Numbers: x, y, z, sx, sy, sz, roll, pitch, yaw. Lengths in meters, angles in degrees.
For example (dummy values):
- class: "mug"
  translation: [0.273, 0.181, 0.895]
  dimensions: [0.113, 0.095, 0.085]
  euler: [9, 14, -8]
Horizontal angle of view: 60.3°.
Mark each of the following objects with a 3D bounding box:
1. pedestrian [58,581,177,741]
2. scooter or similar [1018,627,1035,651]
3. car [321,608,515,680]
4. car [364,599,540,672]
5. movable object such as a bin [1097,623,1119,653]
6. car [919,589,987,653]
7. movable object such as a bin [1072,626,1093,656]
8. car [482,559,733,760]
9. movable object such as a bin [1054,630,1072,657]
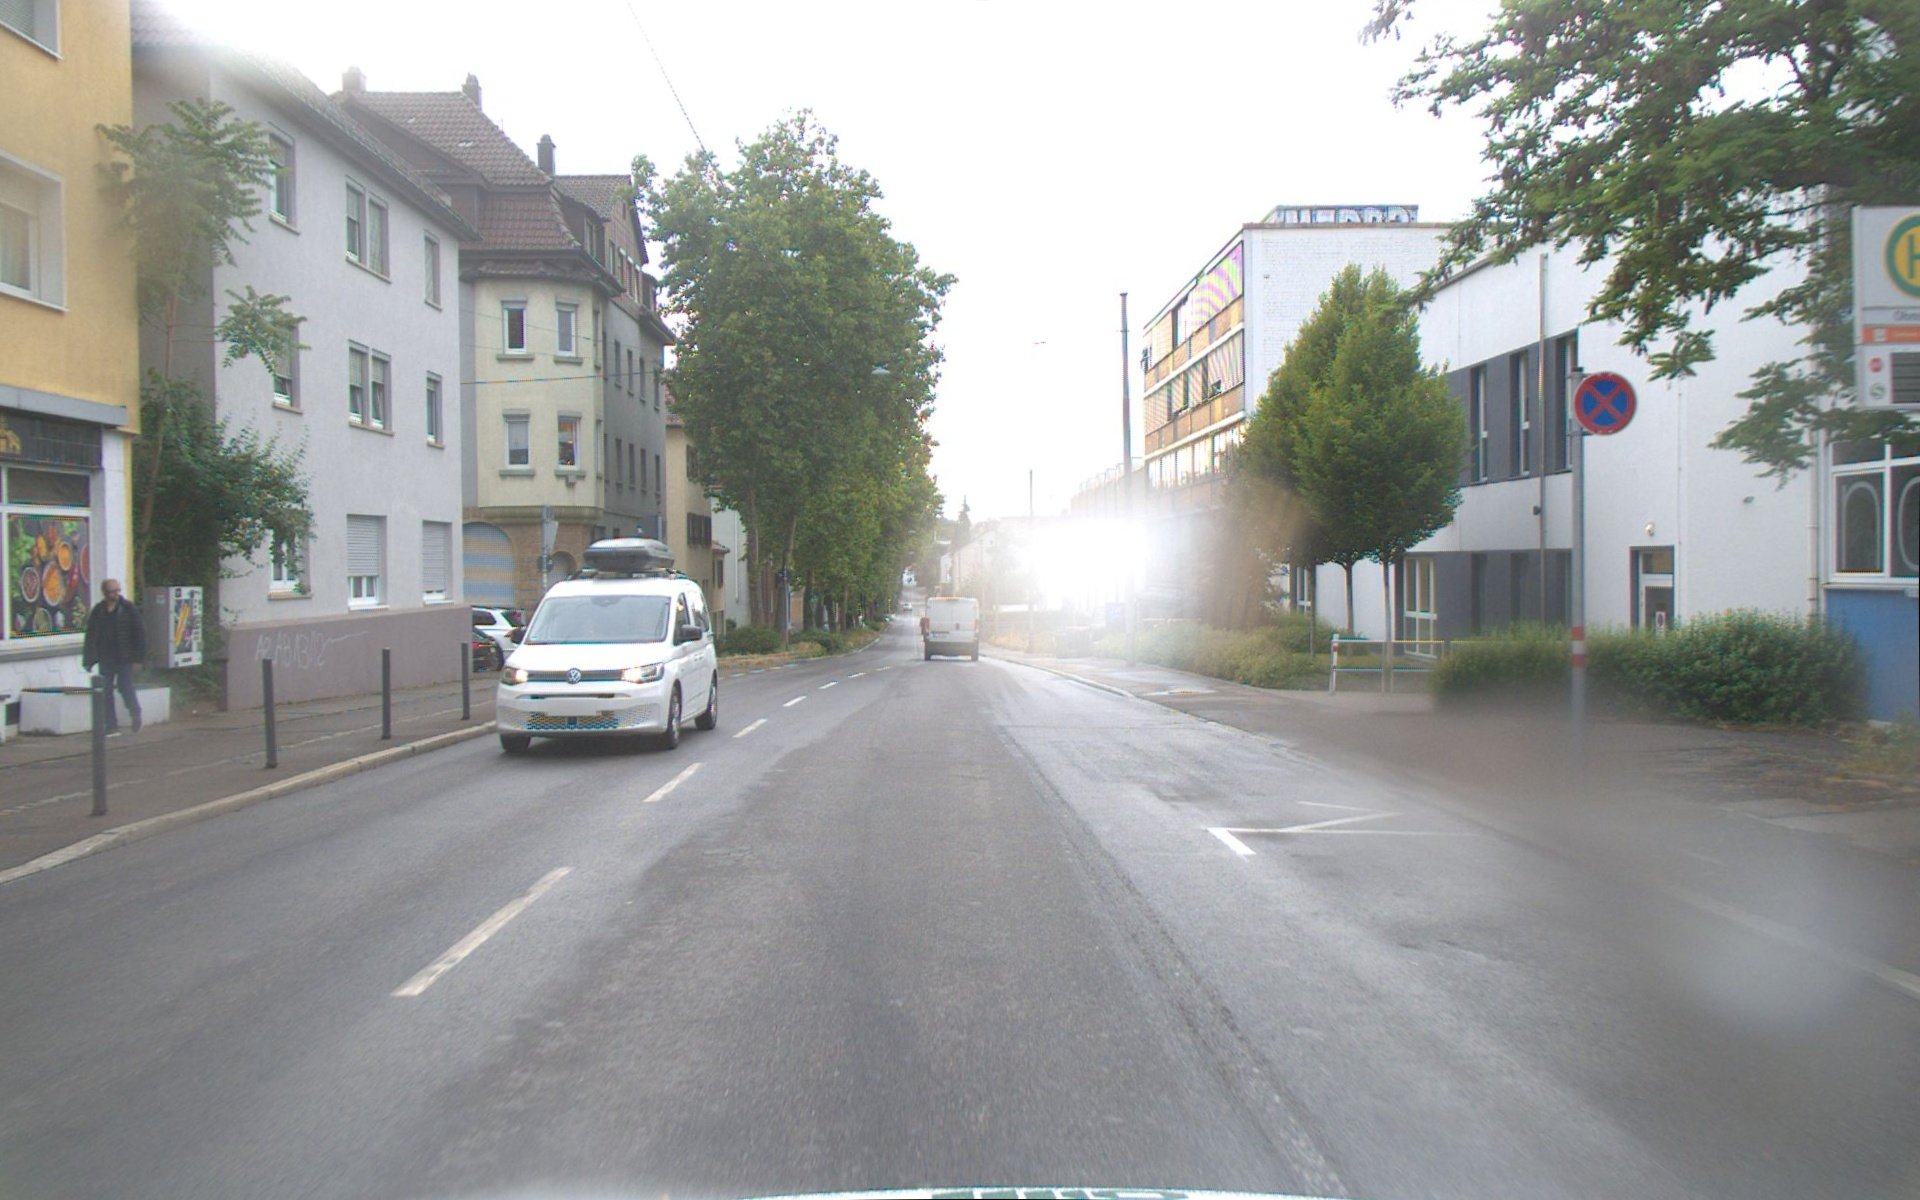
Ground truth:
- class: "pedestrian"
  translation: [-9.242, 0.662, 18.184]
  dimensions: [0.799, 1.709, 0.992]
  euler: [1, -1, -4]
- class: "scooter or similar"
  translation: [3.266, 1.927, 81.303]
  dimensions: [0.593, 1.182, 1.697]
  euler: [-1, -1, -6]
- class: "car"
  translation: [-12.834, 1.032, 39.342]
  dimensions: [3.907, 1.478, 1.999]
  euler: [3, 0, -2]
- class: "car"
  translation: [-13.717, 0.943, 44.832]
  dimensions: [4.098, 1.733, 1.999]
  euler: [3, 0, -1]
- class: "movable object such as a bin"
  translation: [5.597, 1.432, 62.631]
  dimensions: [0.681, 1.101, 0.778]
  euler: [-3, -1, 0]
- class: "car"
  translation: [-0.310, 0.746, 61.827]
  dimensions: [2.300, 2.198, 4.774]
  euler: [-1, 1, -3]
- class: "movable object such as a bin"
  translation: [4.645, 1.556, 62.599]
  dimensions: [0.681, 1.101, 0.778]
  euler: [-3, -1, 0]
- class: "car"
  translation: [-3.710, 0.591, 18.221]
  dimensions: [1.843, 1.902, 4.452]
  euler: [-1, -1, -1]
- class: "movable object such as a bin"
  translation: [3.880, 1.647, 62.420]
  dimensions: [0.607, 0.953, 0.686]
  euler: [-3, -1, 0]
